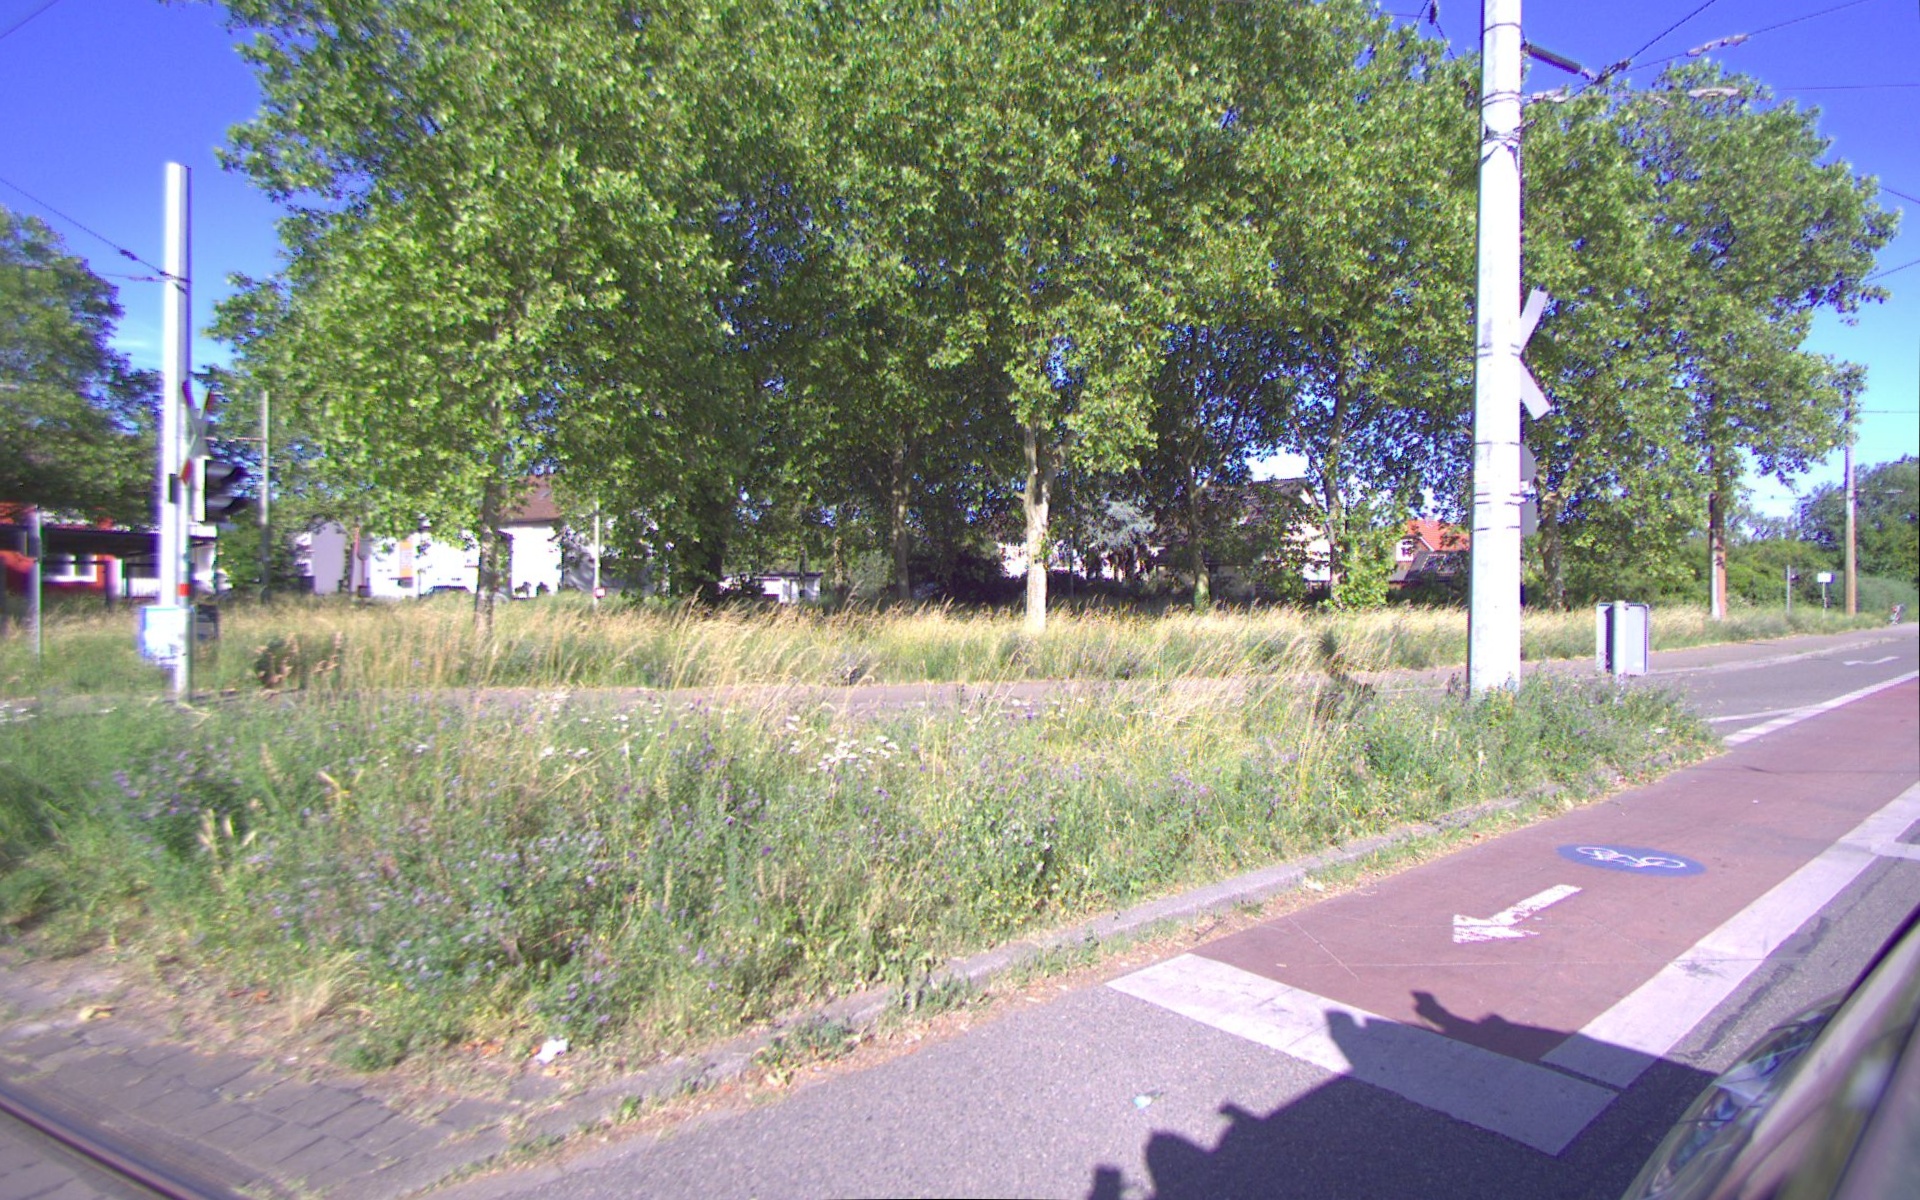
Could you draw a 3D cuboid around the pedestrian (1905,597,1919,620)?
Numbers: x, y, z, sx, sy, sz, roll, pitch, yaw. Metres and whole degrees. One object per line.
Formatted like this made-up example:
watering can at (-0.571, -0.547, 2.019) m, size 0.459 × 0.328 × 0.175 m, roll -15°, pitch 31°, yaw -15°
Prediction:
pedestrian at (43.947, 0.376, 46.677) m, size 0.446 × 1.046 × 0.482 m, roll 0°, pitch 0°, yaw -39°
